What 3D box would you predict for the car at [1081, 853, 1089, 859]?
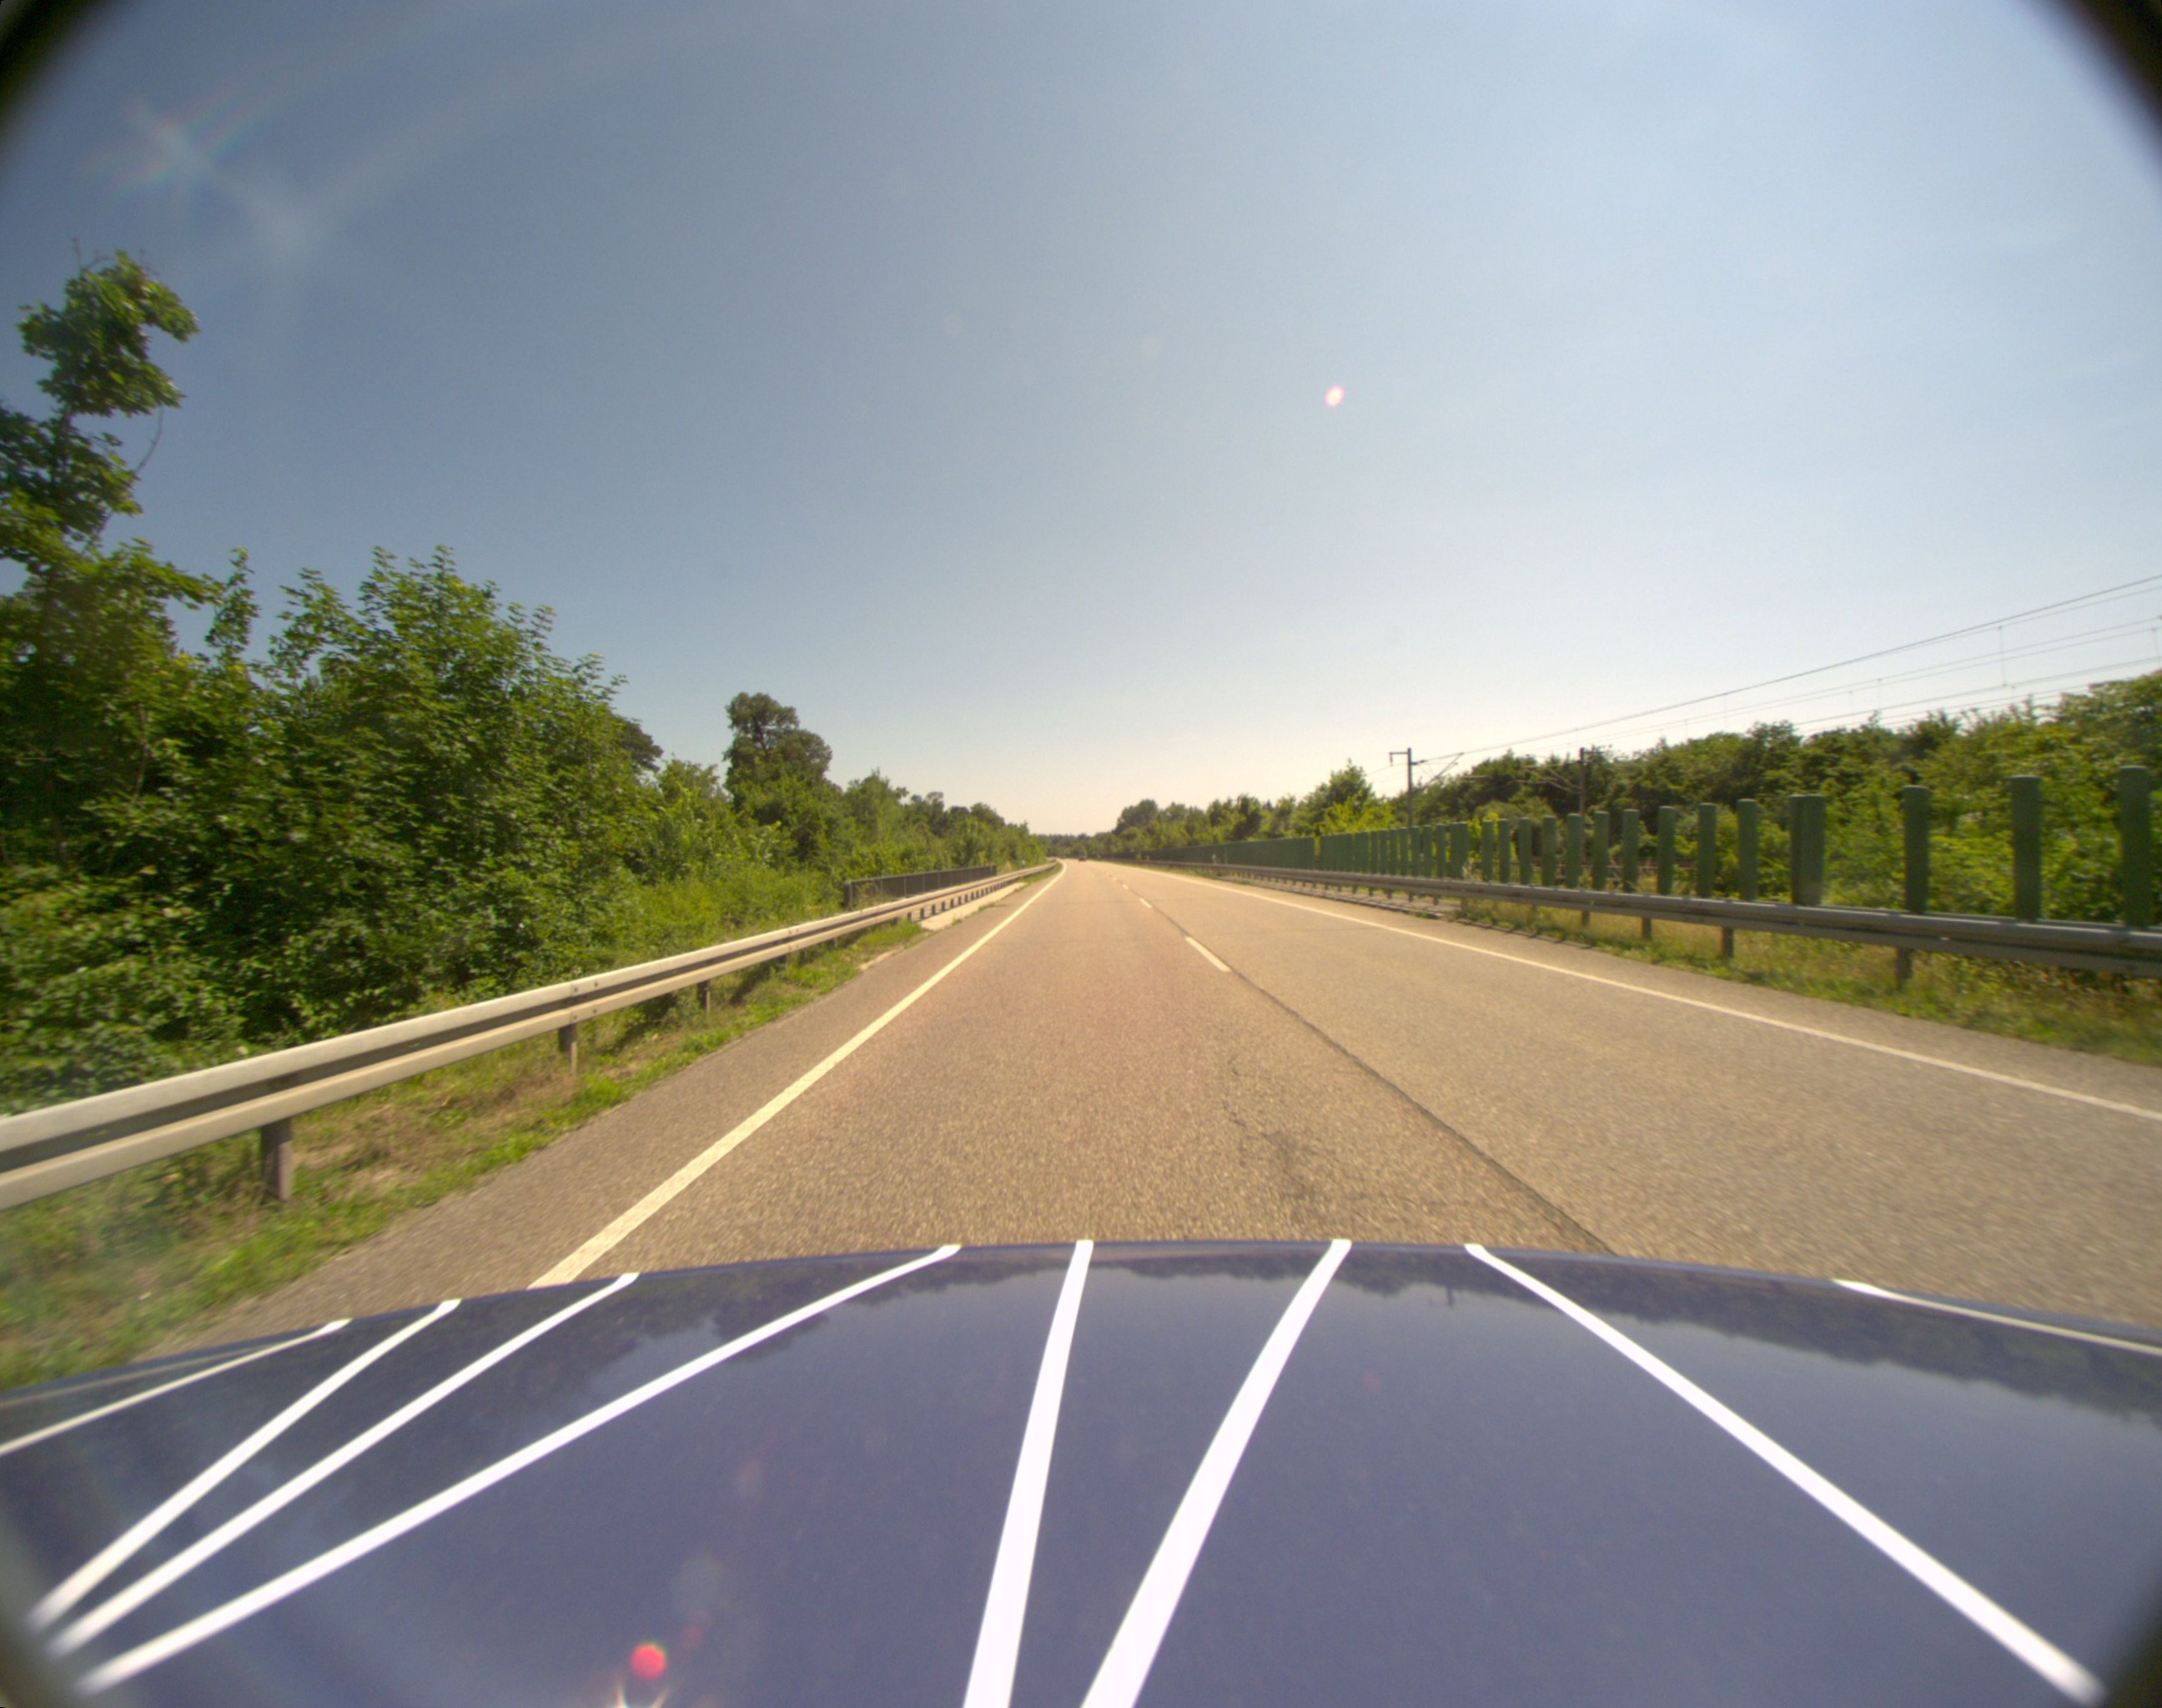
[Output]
[{"bbox_3d":[1.101,0.399,186.911,1.791,1.364,3.896,-2,1,2],"label":"car"}]
